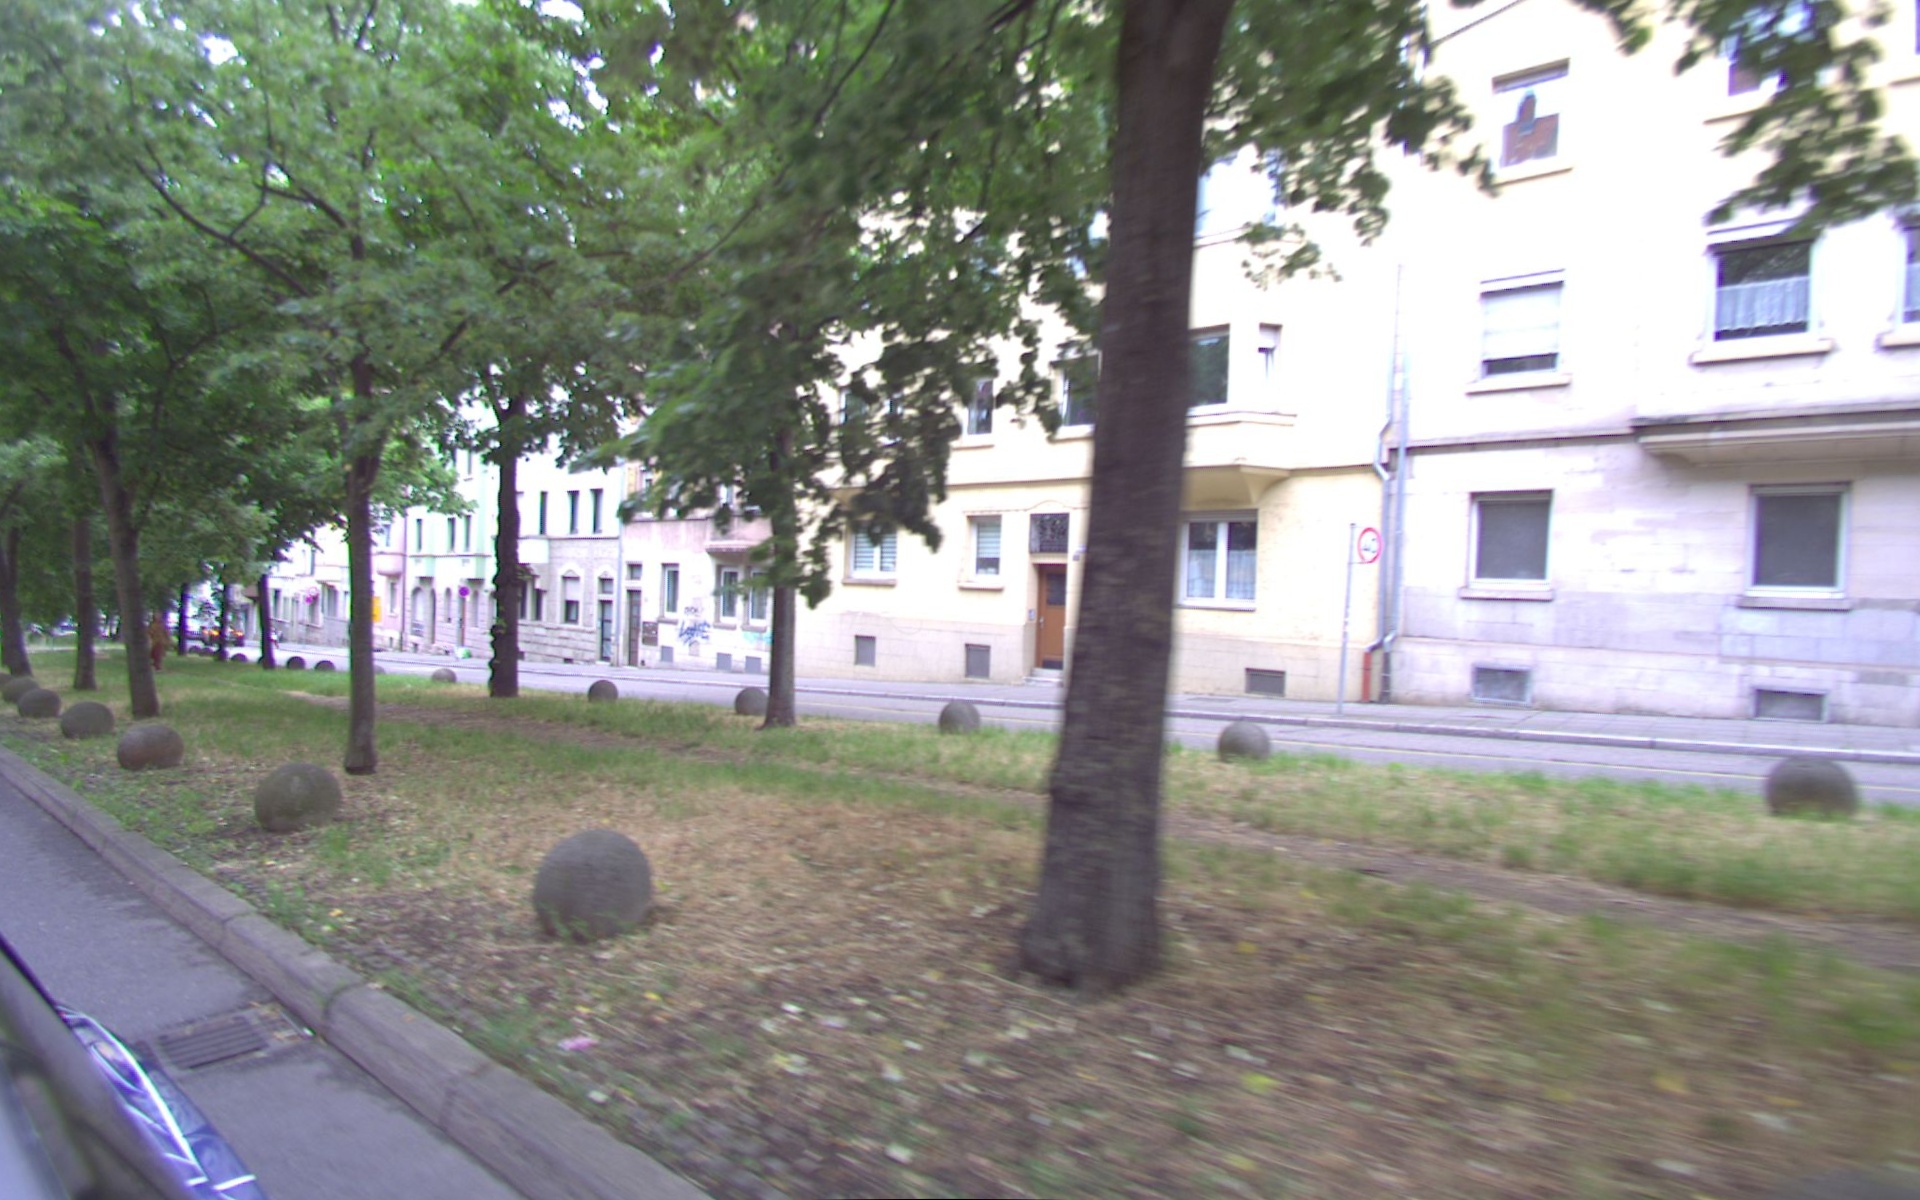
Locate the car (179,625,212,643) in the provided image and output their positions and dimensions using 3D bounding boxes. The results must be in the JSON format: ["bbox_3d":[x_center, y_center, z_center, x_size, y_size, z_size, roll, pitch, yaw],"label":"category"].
[{"bbox_3d":[-62.533,2.795,82.756,1.688,1.393,4.673,3,-4,-43],"label":"car"}]

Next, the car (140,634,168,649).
[{"bbox_3d":[-80.680,4.174,101.318,4.295,1.417,1.650,-2,-3,44],"label":"car"}]

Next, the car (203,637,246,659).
[{"bbox_3d":[-48.803,3.224,67.119,1.737,1.393,4.673,3,-4,-43],"label":"car"}]

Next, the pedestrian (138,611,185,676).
[{"bbox_3d":[-22.398,1.218,28.374,0.823,1.725,1.124,6,-4,-43],"label":"pedestrian"}]

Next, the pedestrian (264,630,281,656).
[{"bbox_3d":[-39.291,2.468,57.838,0.690,1.471,0.705,0,-2,-43],"label":"pedestrian"}]
